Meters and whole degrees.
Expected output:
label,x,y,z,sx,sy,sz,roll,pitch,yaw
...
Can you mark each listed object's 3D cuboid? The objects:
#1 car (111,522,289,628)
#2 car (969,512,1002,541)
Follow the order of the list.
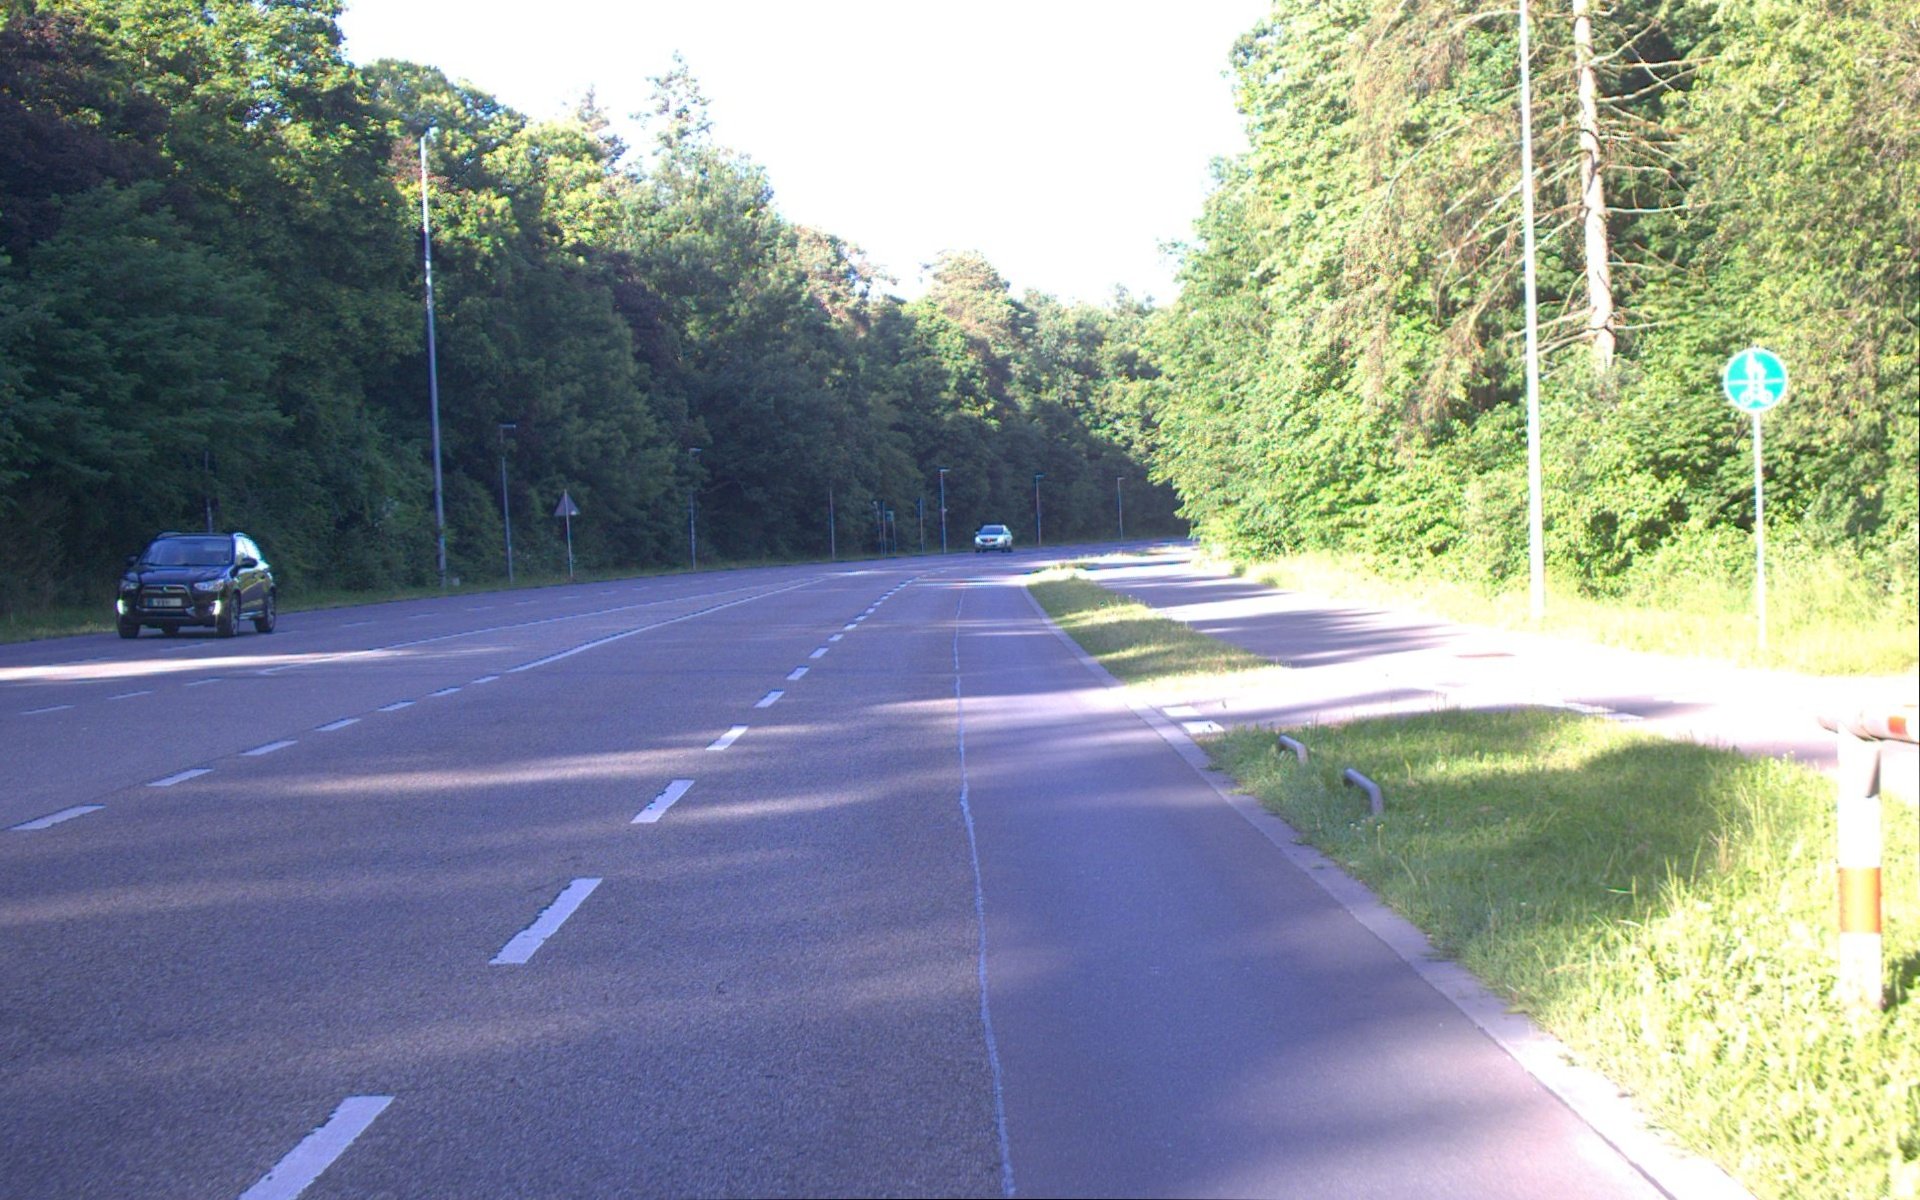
label,x,y,z,sx,sy,sz,roll,pitch,yaw
car,-11.998,-0.425,54.511,1.825,1.584,4.351,-1,1,0
car,1.553,-4.470,208.879,1.908,1.658,4.734,-1,1,0
